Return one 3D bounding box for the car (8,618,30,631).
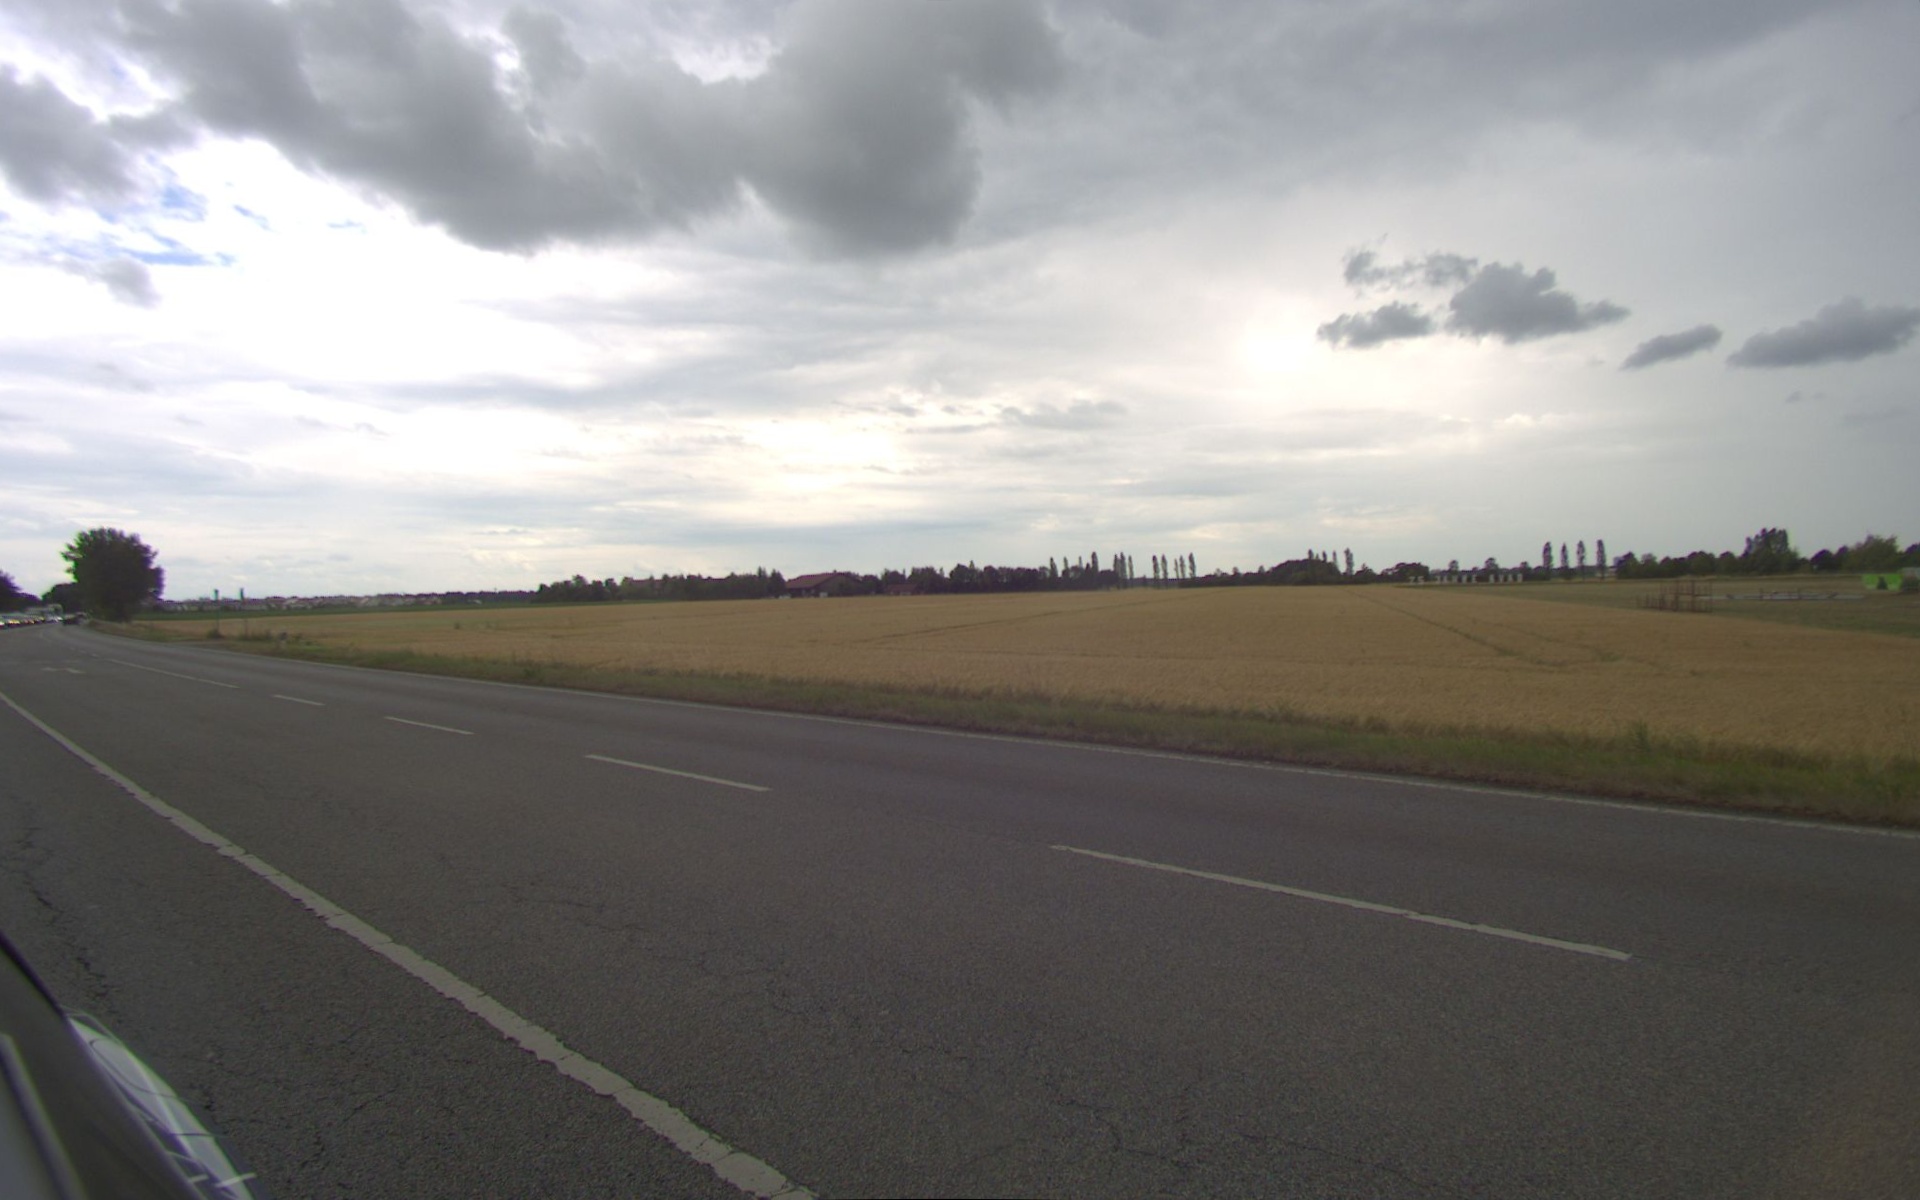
[{"bbox_3d":[-124.162,3.207,133.565,1.766,1.595,4.146,-1,-1,-37],"label":"car"}]

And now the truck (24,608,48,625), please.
[{"bbox_3d":[-156.758,2.757,171.659,2.284,2.786,7.689,-1,0,-37],"label":"truck"}]

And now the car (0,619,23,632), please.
[{"bbox_3d":[-117.948,3.139,125.574,1.924,1.595,4.146,-1,-1,-36],"label":"car"}]

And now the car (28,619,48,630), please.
[{"bbox_3d":[-139.478,3.723,153.054,1.765,1.551,4.146,-1,-1,-36],"label":"car"}]

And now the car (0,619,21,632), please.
[{"bbox_3d":[-113.141,3.030,120.354,1.766,1.595,4.145,-1,-1,-38],"label":"car"}]

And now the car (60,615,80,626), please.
[{"bbox_3d":[-124.319,2.905,141.398,1.803,1.421,4.433,-1,0,-38],"label":"car"}]
